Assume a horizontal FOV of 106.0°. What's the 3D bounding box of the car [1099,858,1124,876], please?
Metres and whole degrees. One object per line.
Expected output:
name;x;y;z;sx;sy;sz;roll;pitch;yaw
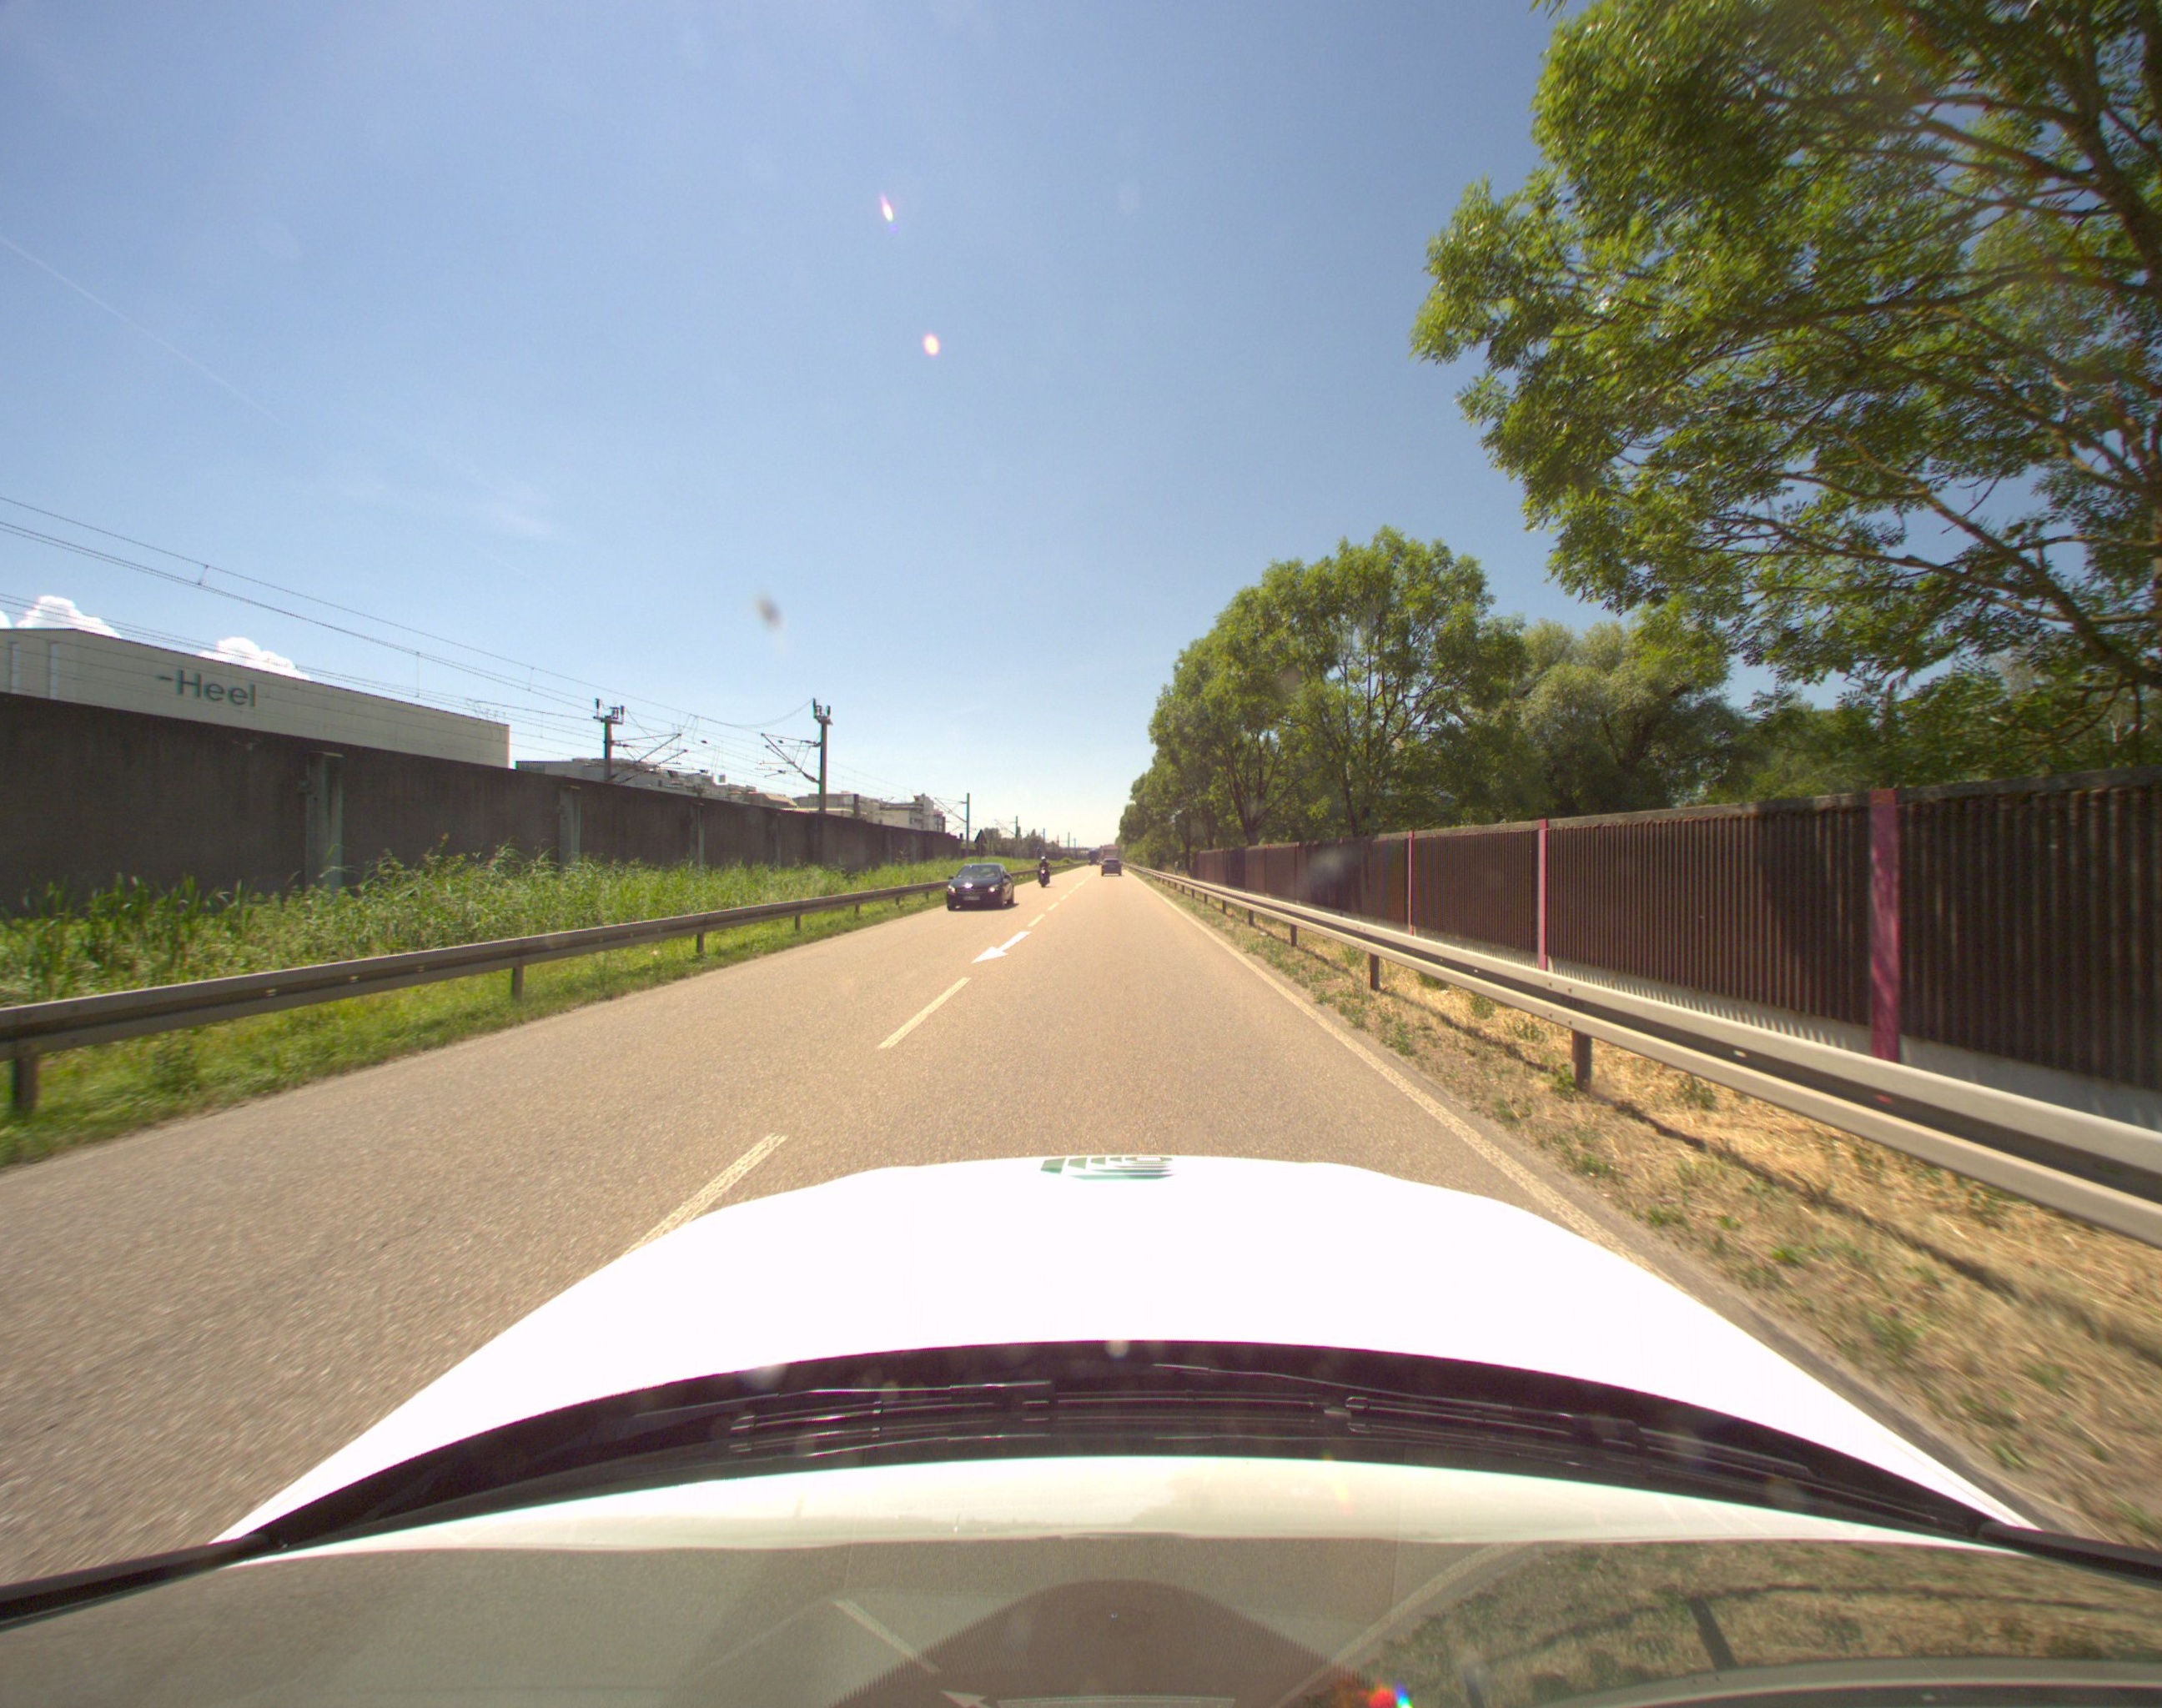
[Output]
car;2.713;1.144;73.030;1.987;1.508;3.999;-1;0;0

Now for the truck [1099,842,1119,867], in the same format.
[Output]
truck;4.198;0.123;120.826;2.759;3.425;10.824;-1;-1;2

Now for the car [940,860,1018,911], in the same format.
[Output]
car;-3.264;0.968;26.775;1.987;1.508;4.000;-1;0;0

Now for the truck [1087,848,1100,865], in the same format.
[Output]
truck;3.092;0.750;199.941;2.786;3.978;10.504;-2;-1;2

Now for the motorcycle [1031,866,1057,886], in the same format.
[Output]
motorcycle;-2.065;1.238;46.092;1.232;1.072;3.130;-1;0;2

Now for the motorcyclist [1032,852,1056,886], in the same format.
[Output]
motorcyclist;-2.087;0.858;46.049;1.249;1.864;1.246;-1;-1;1
